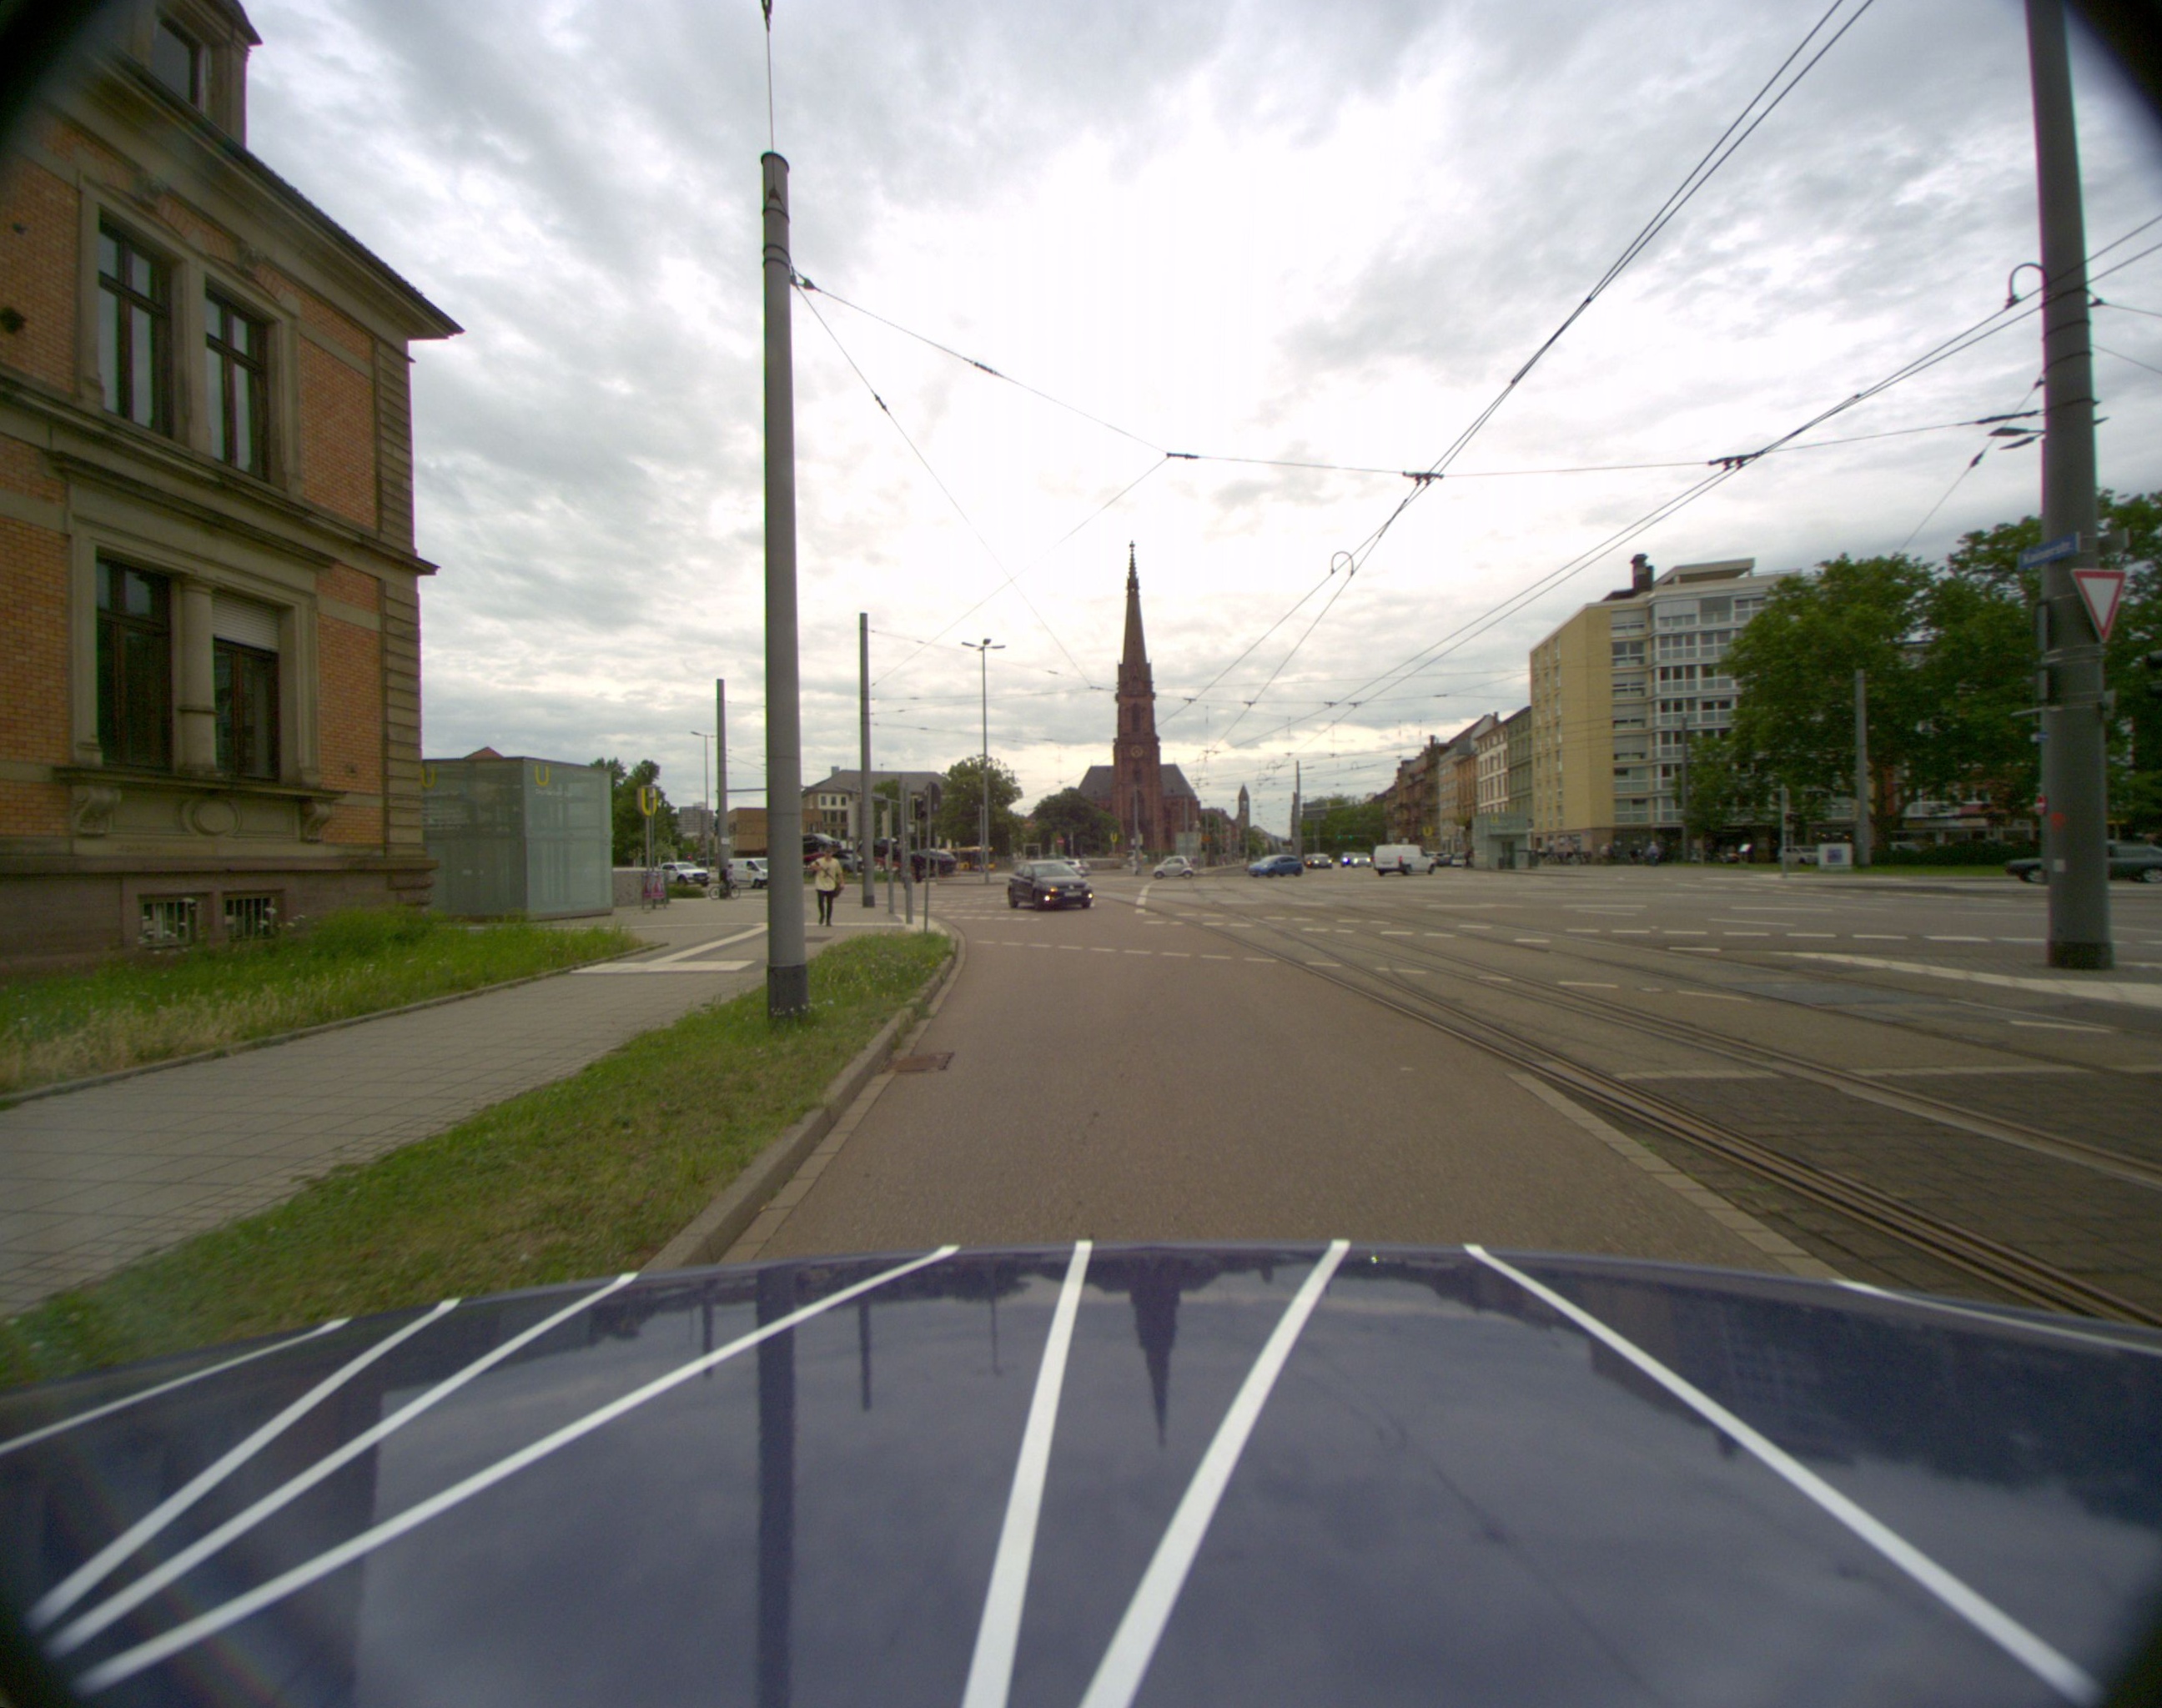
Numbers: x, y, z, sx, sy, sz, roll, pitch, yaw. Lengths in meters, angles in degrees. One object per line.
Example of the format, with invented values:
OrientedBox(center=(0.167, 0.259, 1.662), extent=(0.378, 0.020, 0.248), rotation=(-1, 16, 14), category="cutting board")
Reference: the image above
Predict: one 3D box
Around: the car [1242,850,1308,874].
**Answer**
OrientedBox(center=(13.180, 0.548, 51.542), extent=(4.065, 1.484, 1.996), rotation=(-1, -3, -31), category="car")

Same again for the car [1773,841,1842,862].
OrientedBox(center=(55.784, -0.173, 58.455), extent=(1.997, 1.543, 4.004), rotation=(-1, 0, 11), category="car")

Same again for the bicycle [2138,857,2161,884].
OrientedBox(center=(37.186, 0.541, 25.351), extent=(0.521, 0.921, 2.217), rotation=(-2, -1, -39), category="bicycle")

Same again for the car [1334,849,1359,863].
OrientedBox(center=(29.046, 0.207, 83.340), extent=(1.997, 1.521, 4.003), rotation=(-2, 0, 11), category="car")

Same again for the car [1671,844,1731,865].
OrientedBox(center=(48.428, 0.043, 59.479), extent=(1.997, 1.543, 4.004), rotation=(-1, 0, 11), category="car")

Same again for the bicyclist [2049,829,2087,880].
OrientedBox(center=(35.616, 0.023, 27.418), extent=(0.631, 1.793, 0.795), rotation=(-2, 0, -39), category="bicyclist")

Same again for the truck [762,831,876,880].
OrientedBox(center=(-22.417, 0.189, 64.680), extent=(10.428, 3.898, 3.020), rotation=(-1, 1, 31), category="truck")

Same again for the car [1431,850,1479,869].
OrientedBox(center=(37.692, 0.530, 76.539), extent=(4.003, 1.745, 2.077), rotation=(-2, 1, -20), category="car")

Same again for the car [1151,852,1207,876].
OrientedBox(center=(6.649, 0.657, 51.572), extent=(3.616, 1.484, 2.001), rotation=(-1, 0, 8), category="car")

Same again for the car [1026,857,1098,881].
OrientedBox(center=(-1.370, 1.101, 54.096), extent=(4.669, 1.484, 2.004), rotation=(-2, -3, 20), category="car")

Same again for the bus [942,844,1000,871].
OrientedBox(center=(-13.539, 0.388, 92.708), extent=(2.869, 3.059, 11.992), rotation=(-2, 1, -29), category="bus")

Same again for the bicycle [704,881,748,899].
OrientedBox(center=(-17.101, 1.727, 36.638), extent=(0.765, 0.835, 1.830), rotation=(-1, -2, 28), category="bicycle")

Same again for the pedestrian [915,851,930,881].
OrientedBox(center=(-10.421, 0.805, 49.991), extent=(0.782, 1.932, 0.980), rotation=(-1, 0, -20), category="pedestrian")

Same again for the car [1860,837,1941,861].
OrientedBox(center=(59.833, -0.389, 55.584), extent=(1.997, 1.696, 4.002), rotation=(-2, 1, 11), category="car")

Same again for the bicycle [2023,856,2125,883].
OrientedBox(center=(35.687, 0.581, 27.357), extent=(0.521, 0.924, 2.217), rotation=(-2, -1, -39), category="bicycle")

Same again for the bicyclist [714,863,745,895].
OrientedBox(center=(-16.979, 1.206, 36.738), extent=(0.758, 1.512, 1.103), rotation=(-1, 0, 28), category="bicyclist")

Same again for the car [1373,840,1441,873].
OrientedBox(center=(20.609, 0.117, 47.888), extent=(5.098, 1.871, 1.918), rotation=(-3, 2, -42), category="car")

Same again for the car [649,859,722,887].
OrientedBox(center=(-28.202, 1.358, 54.146), extent=(4.740, 1.838, 2.094), rotation=(-1, 0, 25), category="car")

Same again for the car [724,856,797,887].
OrientedBox(center=(-20.879, 1.134, 49.424), extent=(4.512, 1.930, 2.004), rotation=(-1, 0, 29), category="car")

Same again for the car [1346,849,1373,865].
OrientedBox(center=(27.585, 0.305, 75.379), extent=(1.997, 1.433, 4.004), rotation=(-1, 0, 12), category="car")

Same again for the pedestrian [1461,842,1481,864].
OrientedBox(center=(31.798, -0.072, 62.016), extent=(1.178, 1.774, 1.041), rotation=(-1, 0, 10), category="pedestrian")

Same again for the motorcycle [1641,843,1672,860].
OrientedBox(center=(40.259, -0.180, 53.173), extent=(0.863, 1.171, 2.550), rotation=(-1, 1, 15), category="motorcycle")

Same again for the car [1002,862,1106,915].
OrientedBox(center=(-0.908, 0.970, 22.953), extent=(1.658, 1.404, 3.992), rotation=(-1, 0, -26), category="car")

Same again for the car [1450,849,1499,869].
OrientedBox(center=(38.209, 0.483, 73.810), extent=(4.003, 1.745, 2.077), rotation=(-2, 1, -20), category="car")

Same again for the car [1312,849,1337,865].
OrientedBox(center=(24.119, 0.306, 75.477), extent=(1.997, 1.433, 4.004), rotation=(-1, 0, 12), category="car")

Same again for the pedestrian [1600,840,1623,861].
OrientedBox(center=(42.105, -0.269, 60.335), extent=(1.039, 1.630, 1.333), rotation=(-1, 0, 11), category="pedestrian")

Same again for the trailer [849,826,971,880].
OrientedBox(center=(-13.558, -0.018, 59.906), extent=(9.529, 3.950, 3.001), rotation=(-1, 1, 27), category="trailer")

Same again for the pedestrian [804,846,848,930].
OrientedBox(center=(-5.921, 0.761, 17.601), extent=(0.888, 1.856, 1.284), rotation=(-1, 0, -21), category="pedestrian")

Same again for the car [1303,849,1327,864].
OrientedBox(center=(25.317, 0.252, 82.352), extent=(1.997, 1.521, 4.003), rotation=(-2, 0, 11), category="car")

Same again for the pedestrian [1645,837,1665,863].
OrientedBox(center=(38.630, -0.273, 51.149), extent=(0.706, 1.710, 0.915), rotation=(-2, 1, 2), category="pedestrian")

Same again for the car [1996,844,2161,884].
OrientedBox(center=(33.973, 0.353, 25.720), extent=(1.695, 1.239, 3.727), rotation=(-1, 0, -43), category="car")
